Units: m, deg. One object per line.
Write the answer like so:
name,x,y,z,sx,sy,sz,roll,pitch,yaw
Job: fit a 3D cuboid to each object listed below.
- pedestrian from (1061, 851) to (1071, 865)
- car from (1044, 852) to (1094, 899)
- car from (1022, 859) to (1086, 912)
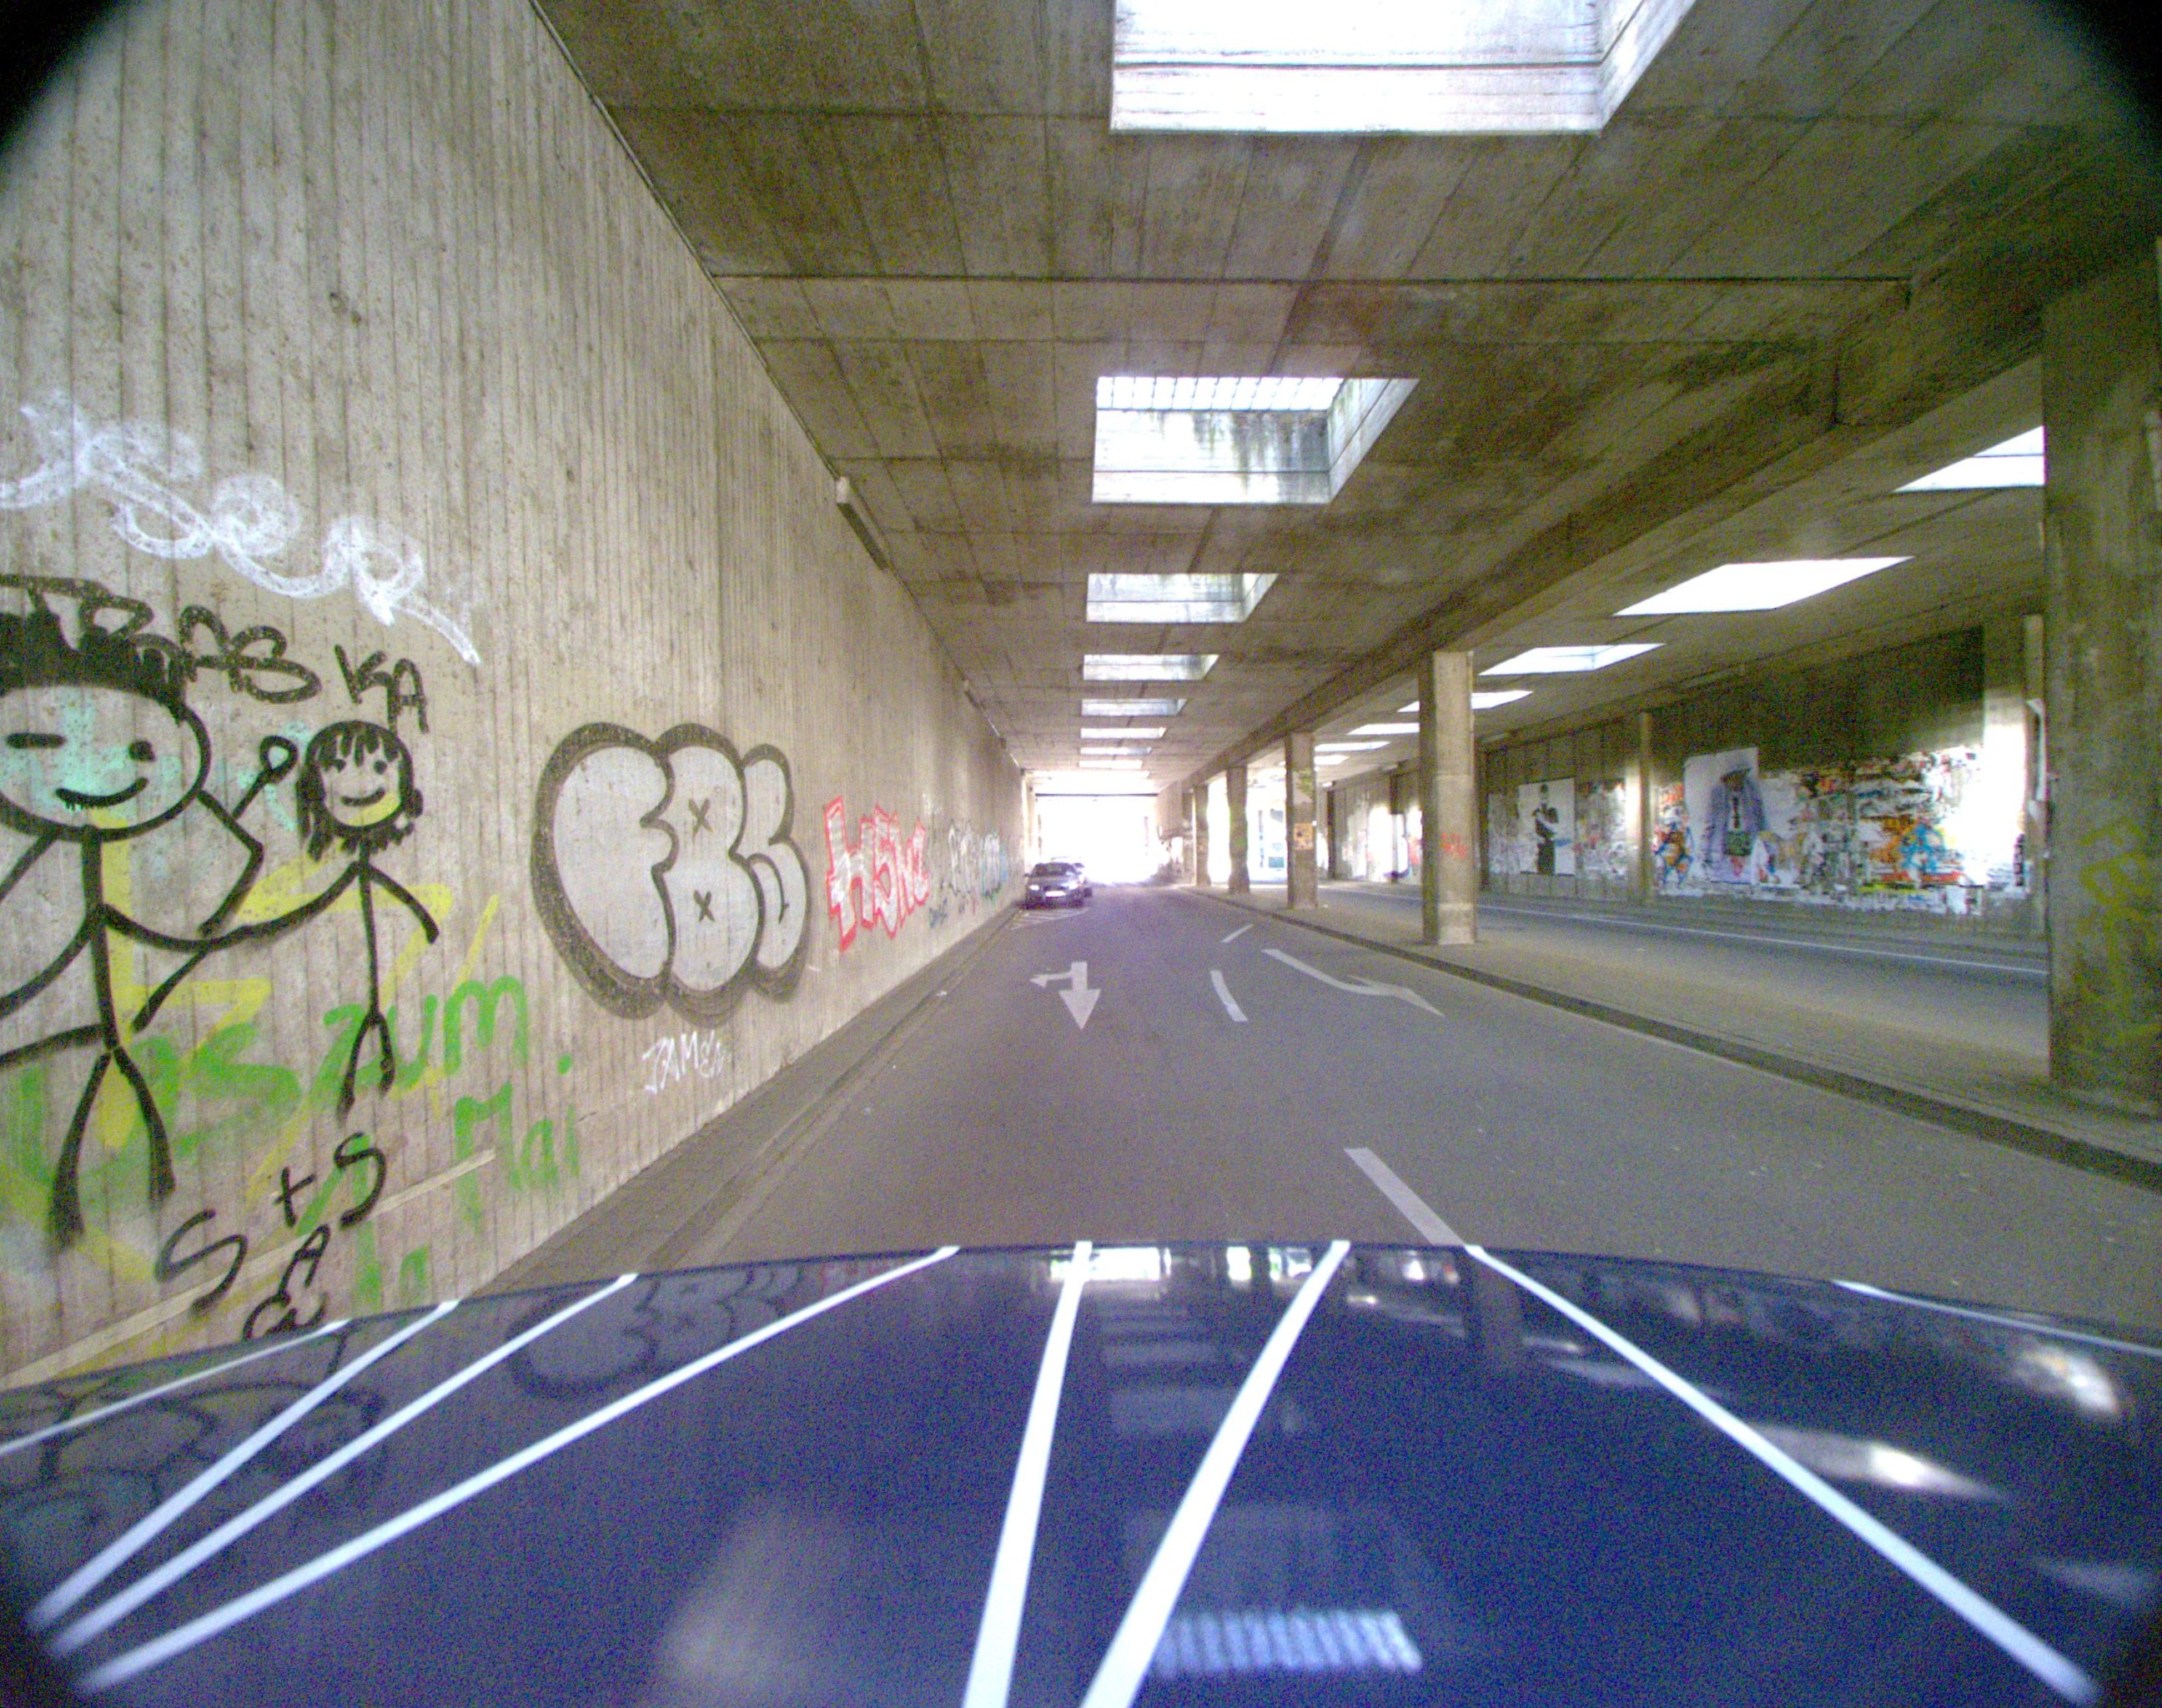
pedestrian,-2.161,0.549,110.371,1.215,2.002,1.490,-2,1,0
car,-0.509,0.769,29.781,1.767,1.634,3.999,-2,1,-2
car,-0.760,0.923,23.953,1.767,1.407,3.999,-2,1,1
